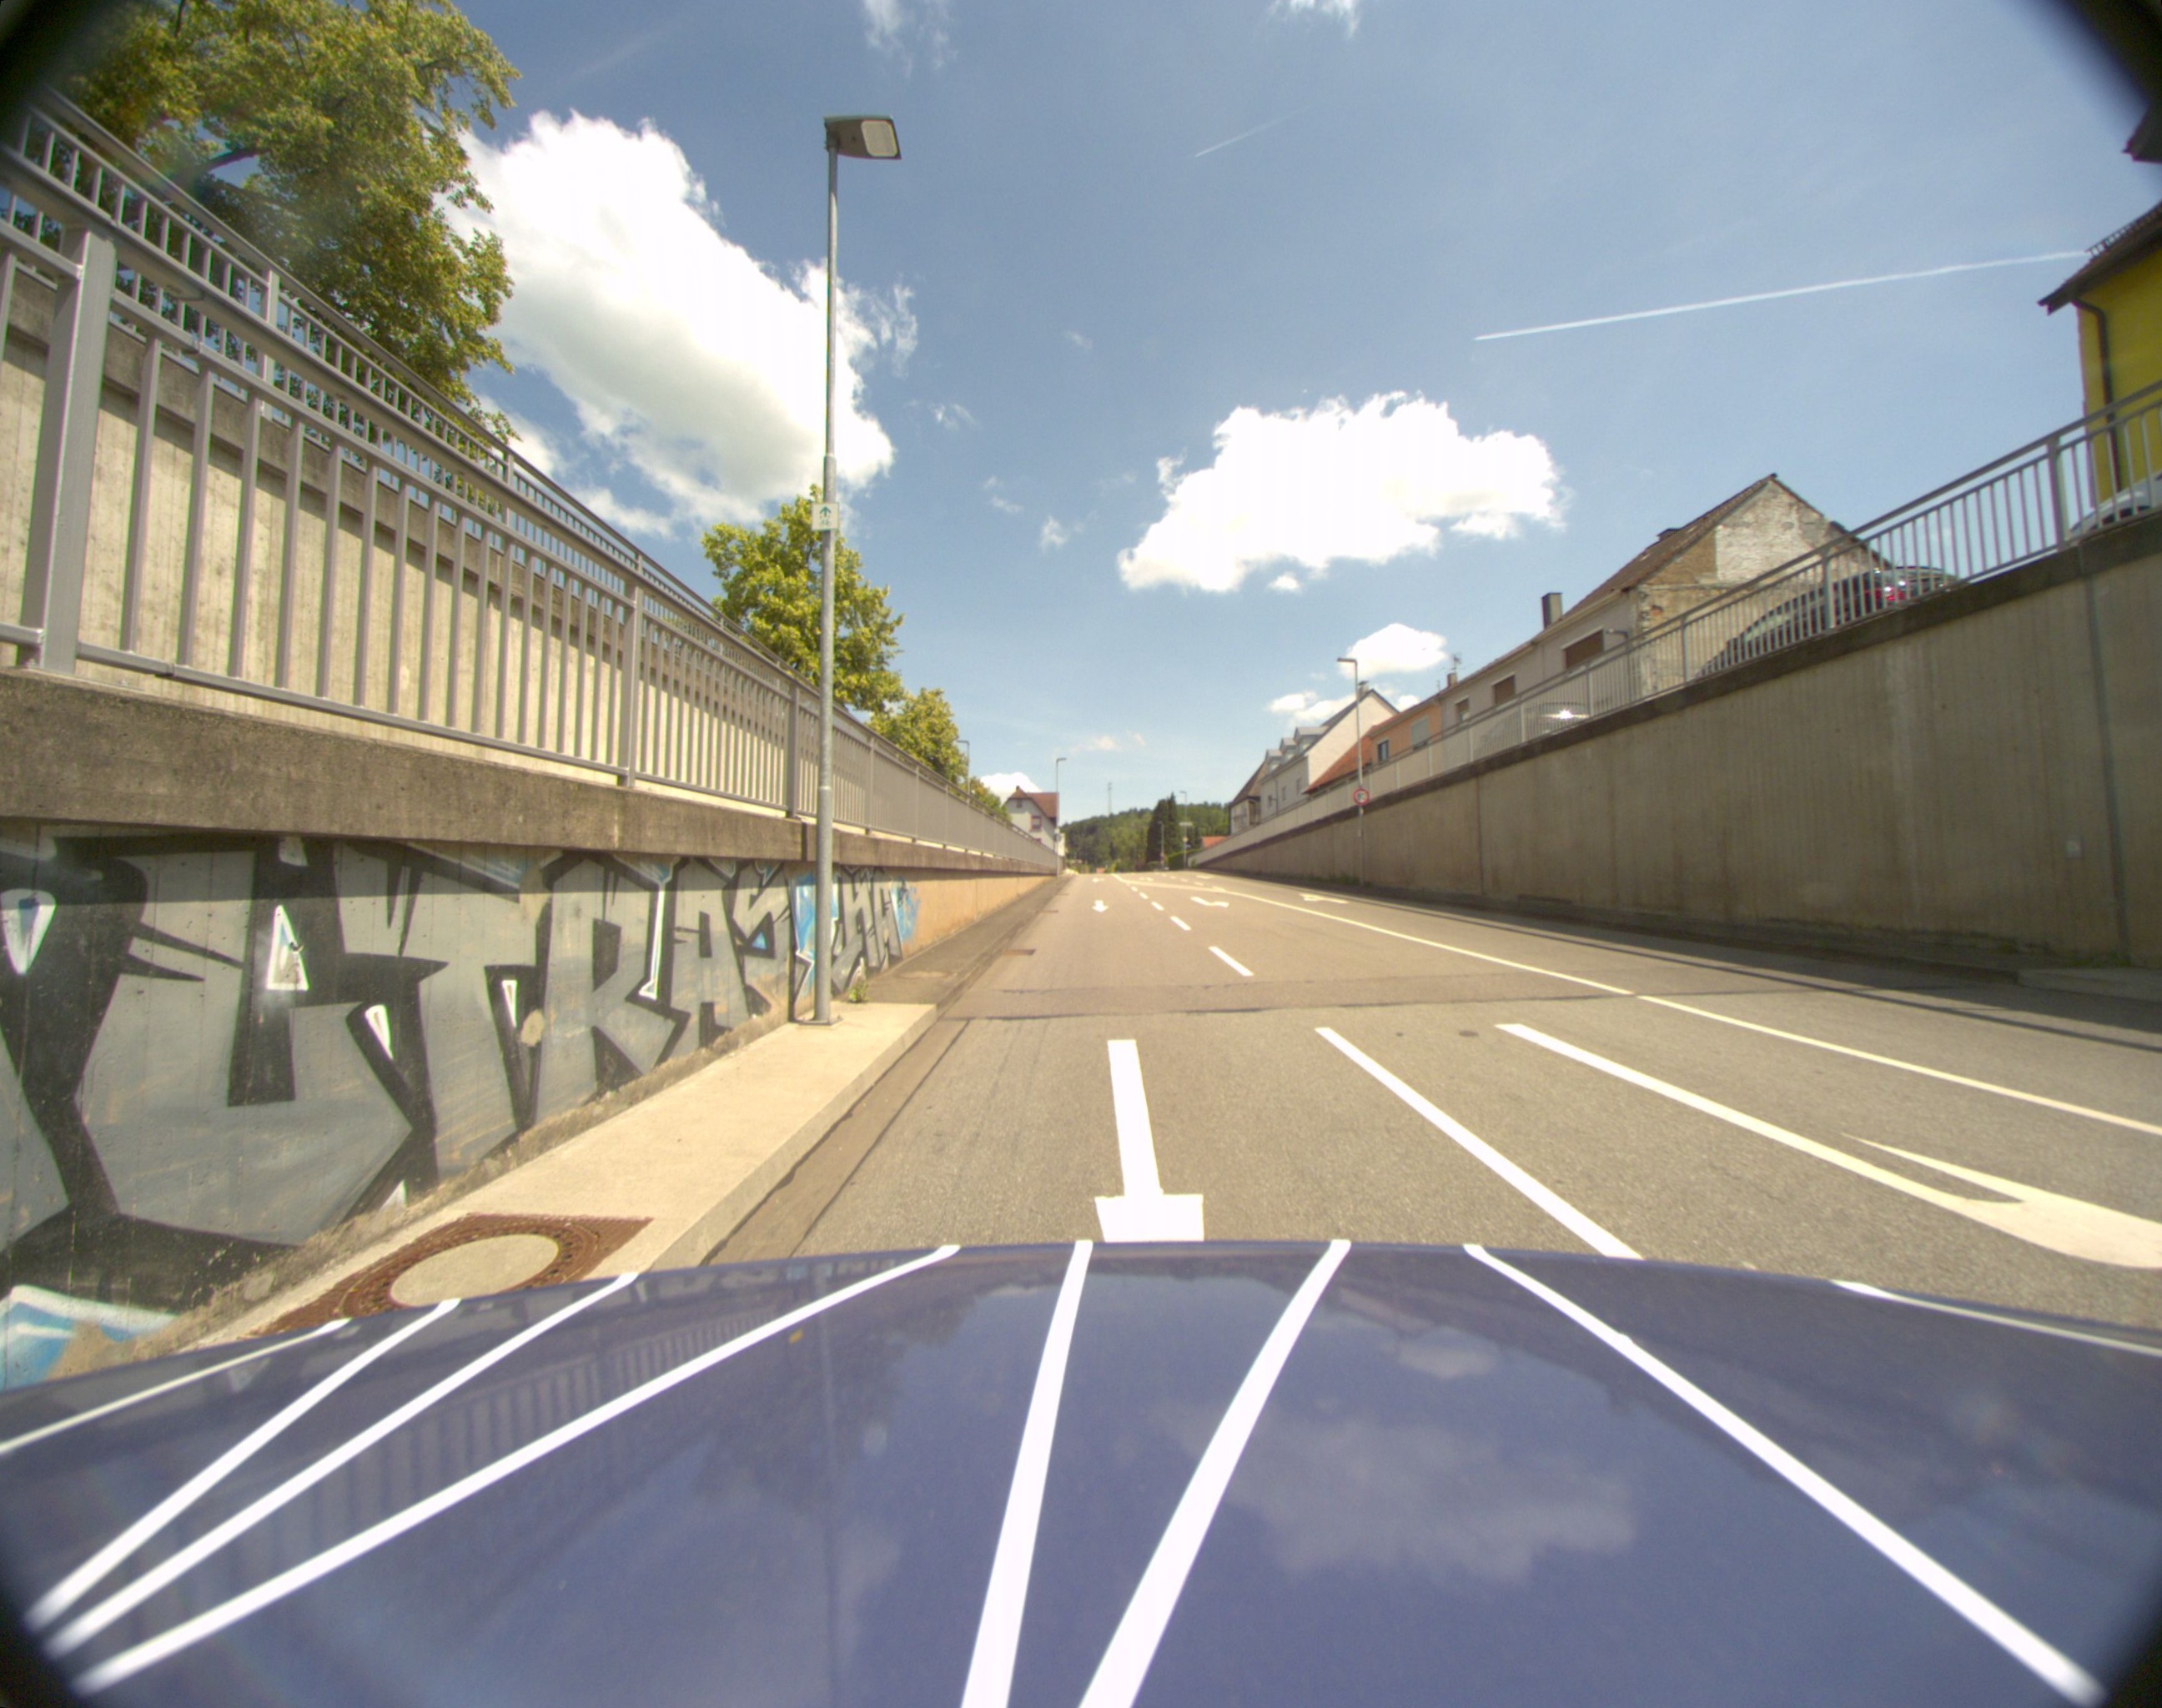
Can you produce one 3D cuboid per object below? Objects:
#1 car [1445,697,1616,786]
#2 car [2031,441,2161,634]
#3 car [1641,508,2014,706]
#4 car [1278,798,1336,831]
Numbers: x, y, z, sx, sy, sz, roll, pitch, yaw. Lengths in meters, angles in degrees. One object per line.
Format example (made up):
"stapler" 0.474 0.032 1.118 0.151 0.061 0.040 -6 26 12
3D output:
"car" 11.573 -2.830 19.973 1.803 1.515 4.394 -1 -2 -1
"car" 12.097 -3.480 6.870 1.907 1.657 4.001 -1 -2 -1
"car" 11.671 -3.762 12.400 1.827 1.695 4.223 -1 -2 -1
"car" 12.521 -2.160 42.398 1.790 1.396 4.394 -1 -2 -1
